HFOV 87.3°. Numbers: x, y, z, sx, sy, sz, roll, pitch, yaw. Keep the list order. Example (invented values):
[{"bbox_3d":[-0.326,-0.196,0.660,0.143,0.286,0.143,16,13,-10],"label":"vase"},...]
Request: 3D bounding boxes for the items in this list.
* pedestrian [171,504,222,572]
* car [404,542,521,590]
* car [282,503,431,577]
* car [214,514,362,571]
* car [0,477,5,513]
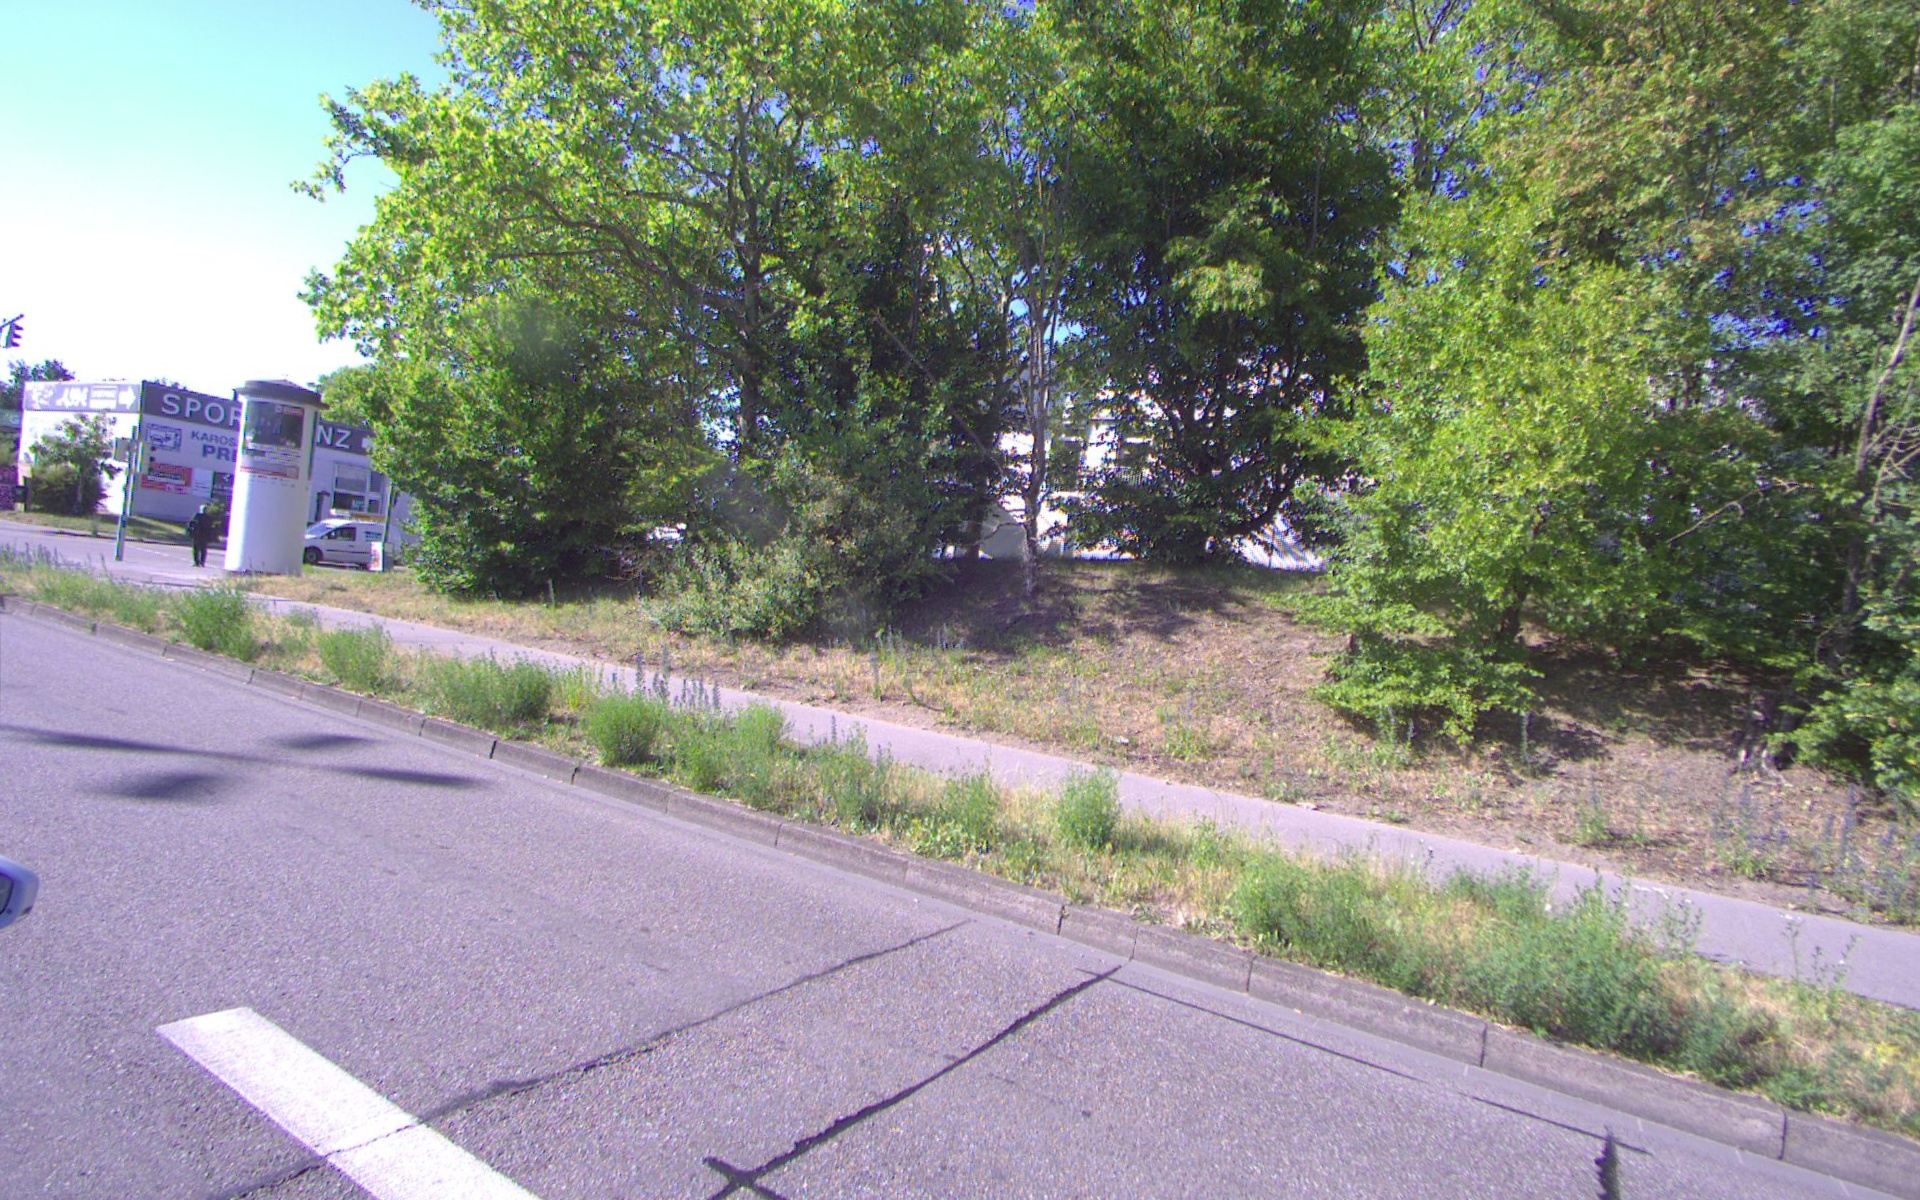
[{"bbox_3d":[-21.260,-1.722,28.018,0.841,1.743,0.822,7,0,39],"label":"pedestrian"},{"bbox_3d":[-22.937,-1.552,46.574,1.965,1.571,4.415,7,-1,28],"label":"car"},{"bbox_3d":[-23.395,-2.284,39.176,1.965,2.171,4.415,7,-1,28],"label":"car"},{"bbox_3d":[-26.838,-2.278,40.348,1.965,1.571,4.415,7,-1,28],"label":"car"},{"bbox_3d":[-48.297,-5.334,47.683,1.663,1.726,4.003,7,-1,16],"label":"car"}]
